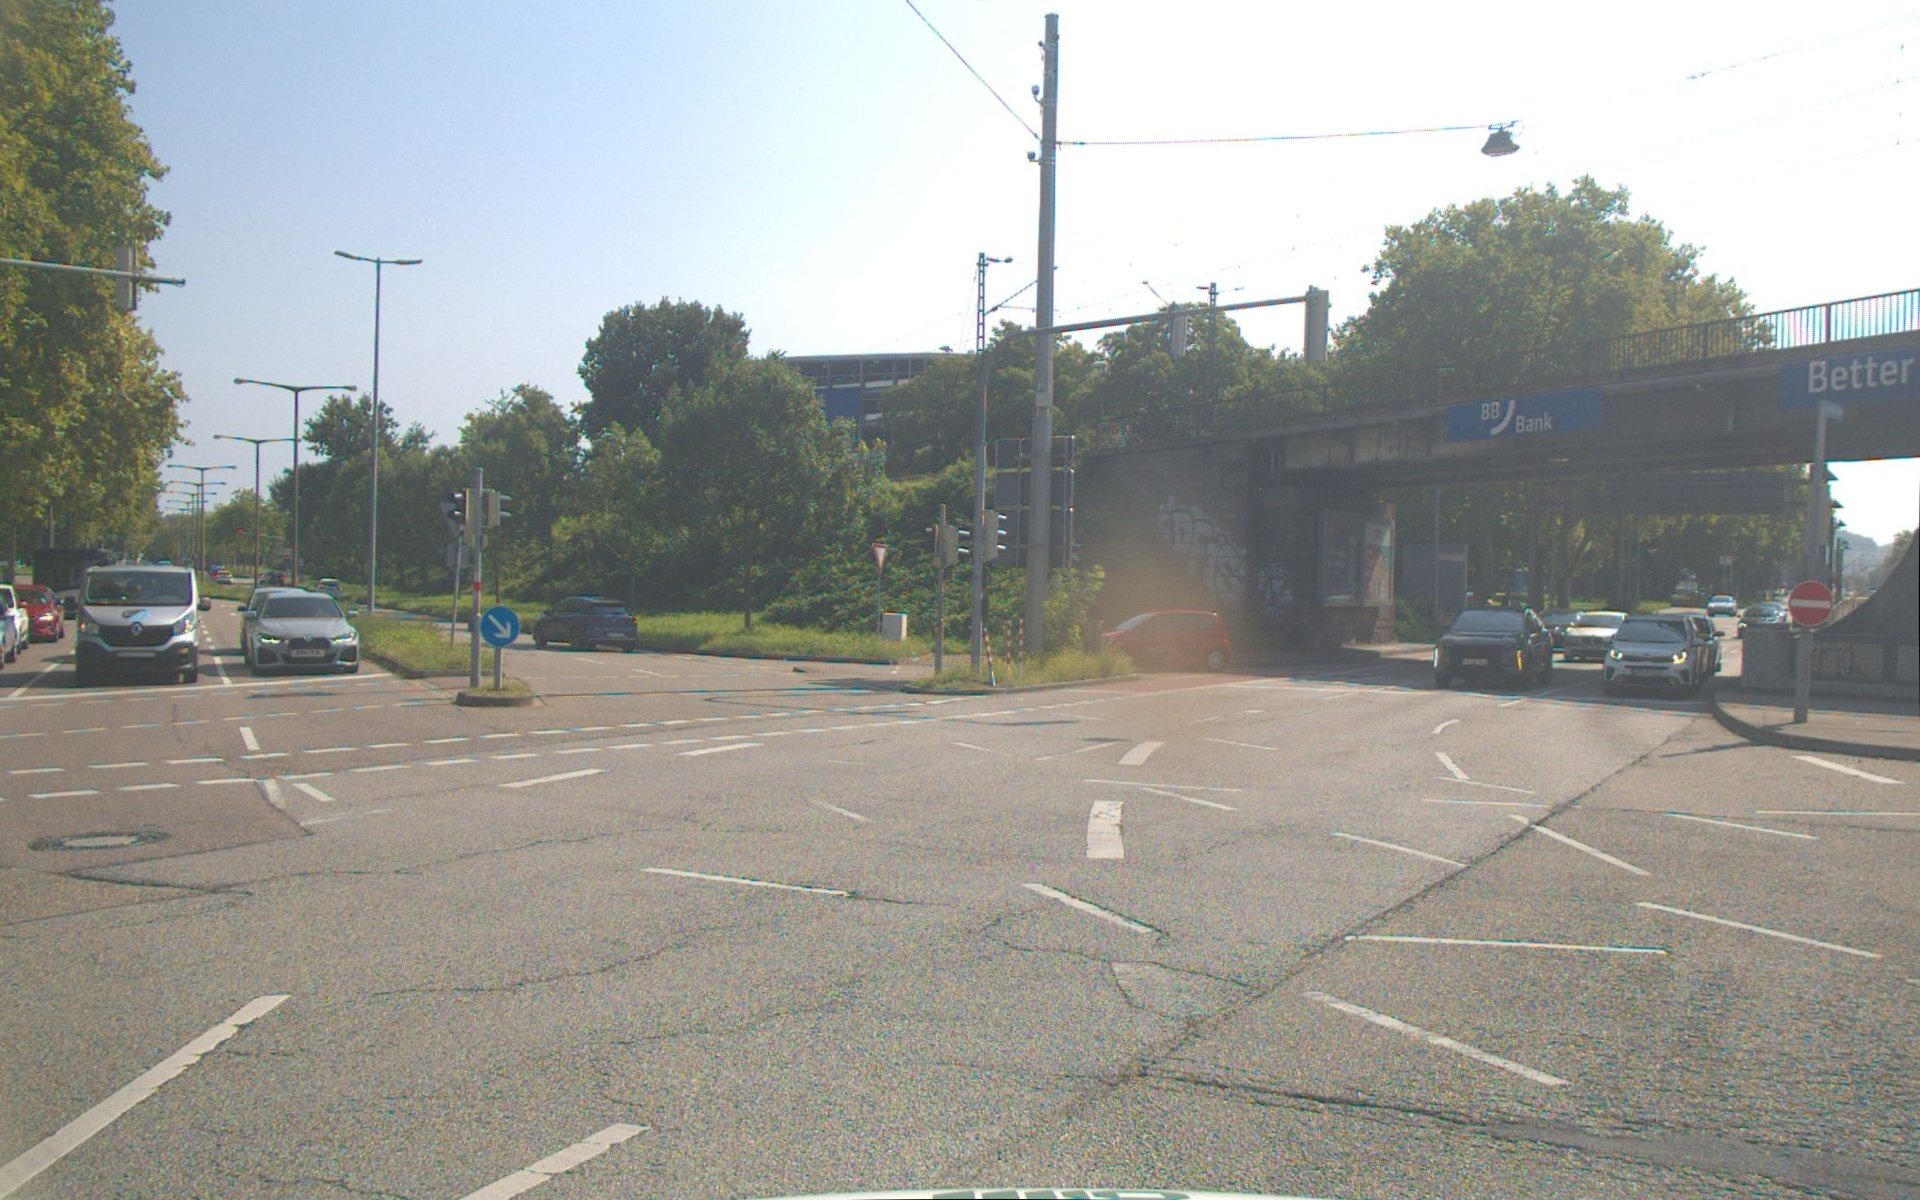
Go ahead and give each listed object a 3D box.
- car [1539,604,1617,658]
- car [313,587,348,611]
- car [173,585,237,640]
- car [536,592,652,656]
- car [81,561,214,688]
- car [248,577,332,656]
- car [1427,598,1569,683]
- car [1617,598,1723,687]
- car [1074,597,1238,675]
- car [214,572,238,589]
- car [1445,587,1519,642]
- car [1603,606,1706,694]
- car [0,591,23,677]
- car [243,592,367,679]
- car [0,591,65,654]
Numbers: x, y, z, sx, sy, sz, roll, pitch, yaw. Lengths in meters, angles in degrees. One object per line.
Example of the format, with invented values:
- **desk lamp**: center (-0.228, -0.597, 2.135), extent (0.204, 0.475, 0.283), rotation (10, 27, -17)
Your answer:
- **car**: center (18.099, 0.861, 48.373), extent (1.657, 1.384, 3.996), rotation (4, 2, 26)
- **car**: center (-45.206, -0.085, 118.724), extent (1.969, 1.683, 3.966), rotation (0, 0, -26)
- **car**: center (-22.504, 0.343, 49.357), extent (1.646, 1.562, 3.702), rotation (-1, 1, -24)
- **car**: center (-10.263, 0.636, 46.155), extent (1.765, 1.452, 3.953), rotation (2, 2, -35)
- **car**: center (-14.287, 0.339, 29.075), extent (1.904, 1.992, 5.168), rotation (1, 1, -27)
- **car**: center (-15.562, 0.326, 38.322), extent (1.593, 1.561, 4.070), rotation (-1, 3, -25)
- **car**: center (11.279, 0.804, 34.501), extent (1.867, 1.645, 4.464), rotation (0, 0, 31)
- **car**: center (15.582, 0.871, 36.190), extent (1.954, 1.600, 4.345), rotation (2, 3, 25)
- **car**: center (4.723, 0.863, 39.950), extent (3.488, 1.492, 1.636), rotation (5, 1, -18)
- **car**: center (-77.182, -2.048, 173.921), extent (1.964, 1.731, 3.977), rotation (0, 0, -20)
- **car**: center (19.676, 0.528, 62.203), extent (1.955, 1.880, 3.996), rotation (4, 2, 26)
- **car**: center (13.480, 0.910, 32.008), extent (1.687, 1.565, 3.693), rotation (1, 0, 25)
- **car**: center (-19.052, 0.629, 31.599), extent (1.646, 1.562, 3.702), rotation (-1, 1, -24)
- **car**: center (-12.554, 0.614, 31.531), extent (1.813, 1.468, 4.567), rotation (-1, 1, -26)
- **car**: center (-24.660, 0.558, 43.548), extent (1.646, 1.562, 3.702), rotation (-1, 1, -24)
